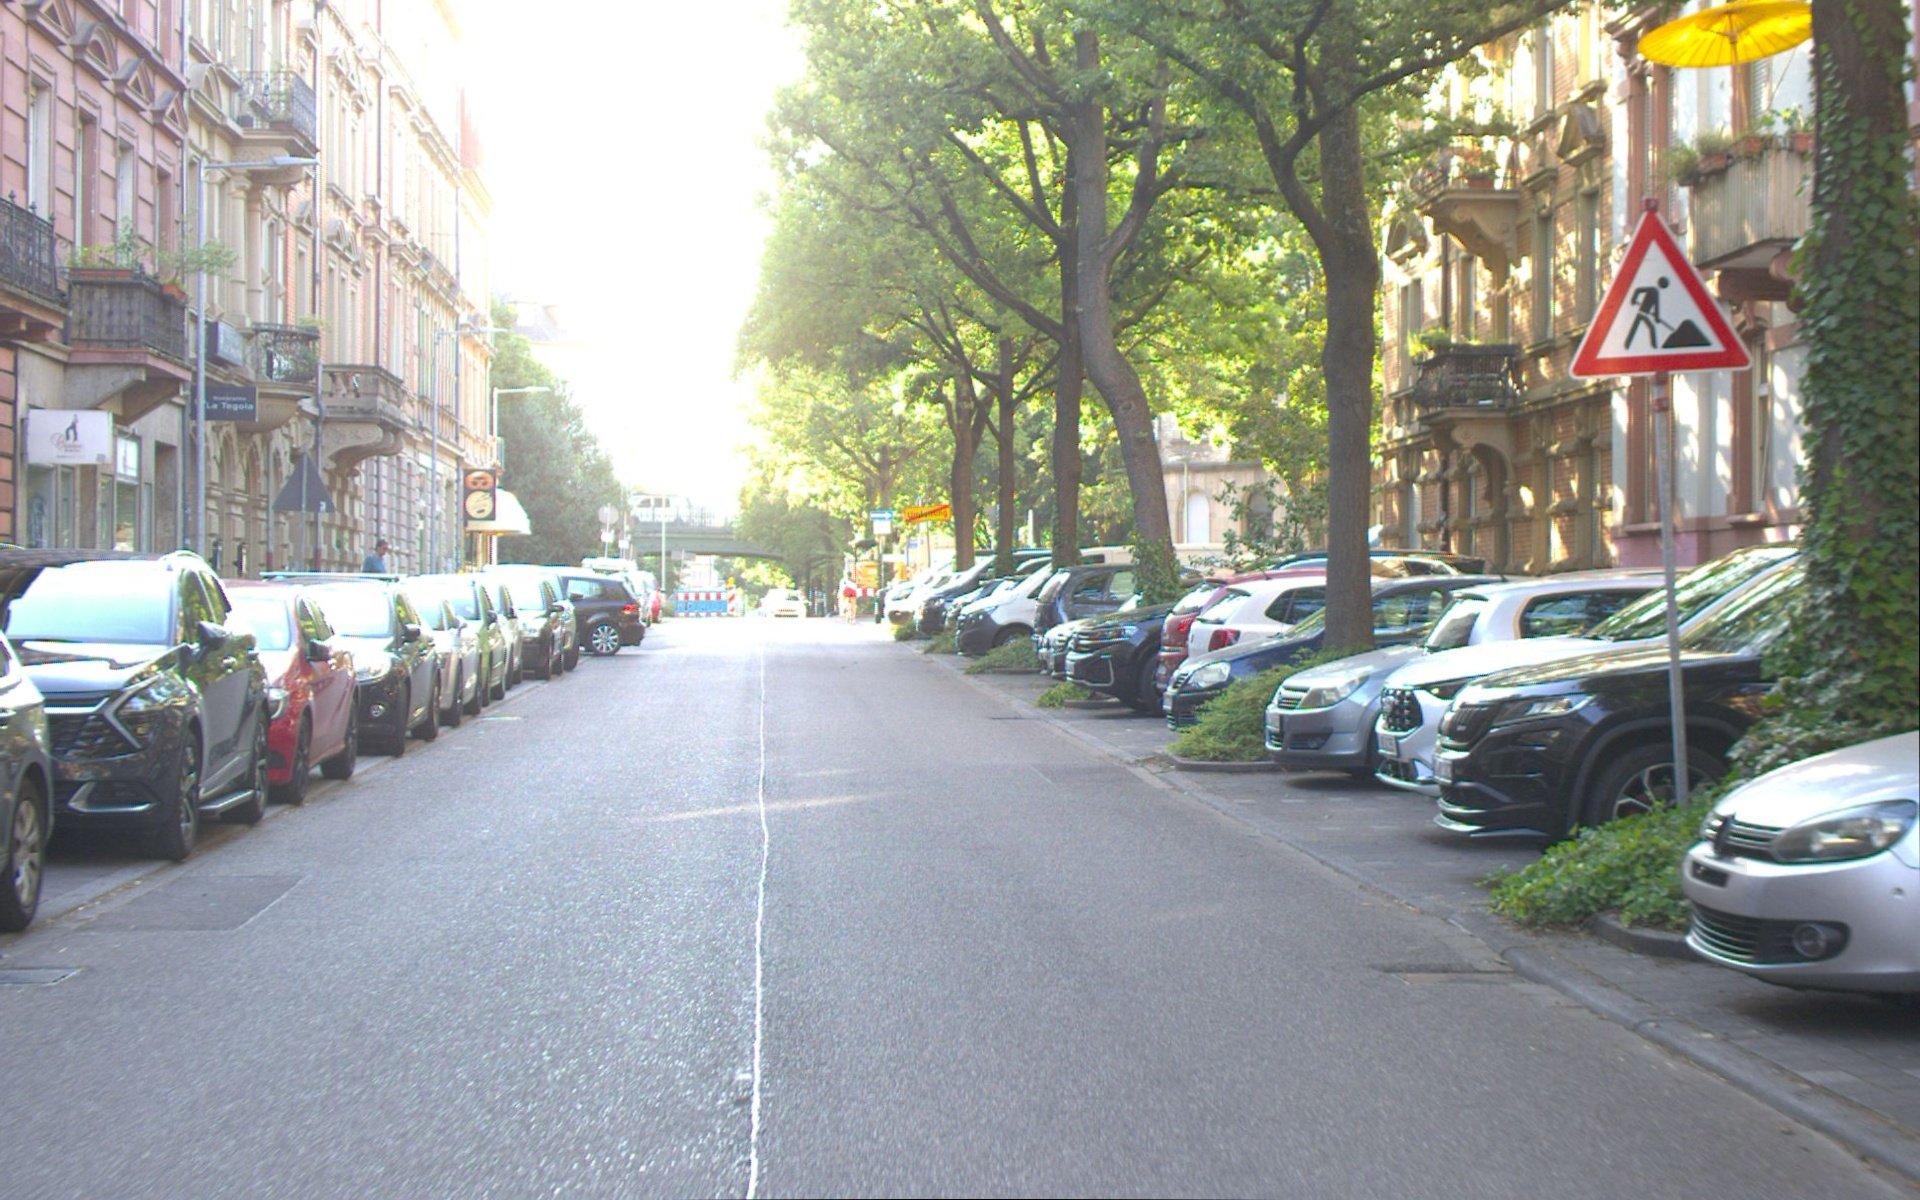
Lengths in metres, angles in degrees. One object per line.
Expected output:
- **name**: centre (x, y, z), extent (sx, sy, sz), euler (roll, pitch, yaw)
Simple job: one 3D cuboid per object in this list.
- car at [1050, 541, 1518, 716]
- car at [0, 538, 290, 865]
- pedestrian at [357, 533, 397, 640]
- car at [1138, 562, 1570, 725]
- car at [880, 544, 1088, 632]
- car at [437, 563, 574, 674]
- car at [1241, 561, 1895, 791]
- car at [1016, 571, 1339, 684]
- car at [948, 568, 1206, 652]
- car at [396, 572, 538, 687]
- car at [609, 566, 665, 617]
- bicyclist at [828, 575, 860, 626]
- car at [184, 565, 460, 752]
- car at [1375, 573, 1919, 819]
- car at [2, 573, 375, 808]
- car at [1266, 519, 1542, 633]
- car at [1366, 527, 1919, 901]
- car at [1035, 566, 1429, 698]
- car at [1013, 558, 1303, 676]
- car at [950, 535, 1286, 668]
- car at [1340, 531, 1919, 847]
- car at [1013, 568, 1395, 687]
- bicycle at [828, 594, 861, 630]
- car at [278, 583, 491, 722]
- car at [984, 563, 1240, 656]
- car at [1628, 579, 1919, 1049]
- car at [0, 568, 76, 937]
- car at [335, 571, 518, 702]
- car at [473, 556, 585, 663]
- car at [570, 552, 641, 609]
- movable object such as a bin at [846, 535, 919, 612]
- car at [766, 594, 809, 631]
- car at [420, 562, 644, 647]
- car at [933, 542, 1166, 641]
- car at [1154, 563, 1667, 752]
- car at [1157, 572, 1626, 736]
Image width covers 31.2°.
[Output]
- **car**: centre (3.406, 0.279, 36.610), extent (4.643, 1.697, 1.882), euler (-1, 1, -6)
- **car**: centre (-4.980, 0.467, 19.190), extent (1.821, 1.595, 4.314), euler (2, 0, -3)
- **pedestrian**: centre (-10.378, -0.241, 61.216), extent (0.638, 1.881, 0.592), euler (0, 0, -16)
- **car**: centre (3.891, 0.414, 34.328), extent (3.986, 1.585, 1.783), euler (0, 1, -6)
- **car**: centre (0.563, -0.300, 84.200), extent (4.973, 2.089, 2.106), euler (0, 0, -3)
- **car**: centre (-6.640, 0.242, 50.514), extent (1.647, 1.468, 4.001), euler (3, 0, -4)
- **car**: centre (4.253, 0.515, 24.414), extent (4.221, 1.531, 1.801), euler (1, 1, -6)
- **car**: centre (2.932, 0.364, 46.845), extent (4.104, 1.498, 1.811), euler (0, 0, -7)
- **car**: centre (2.014, 0.167, 60.112), extent (4.369, 1.451, 1.934), euler (0, 0, -3)
- **car**: centre (-6.608, 0.370, 46.361), extent (1.581, 1.468, 4.001), euler (0, 1, -4)
- **car**: centre (-9.989, -0.266, 106.263), extent (1.669, 1.525, 4.001), euler (1, 0, -6)
- **bicyclist**: centre (-3.223, 0.015, 95.593), extent (0.803, 1.379, 0.985), euler (2, 0, -4)
- **car**: centre (-5.568, 0.462, 30.489), extent (1.821, 1.472, 4.424), euler (2, 0, -3)
- **car**: centre (4.844, 0.587, 22.003), extent (4.100, 1.464, 1.801), euler (1, 1, -2)
- **car**: centre (-5.255, 0.560, 23.949), extent (1.821, 1.421, 4.314), euler (2, 0, -3)
- **car**: centre (10.285, -0.556, 79.918), extent (5.893, 2.529, 2.381), euler (1, 0, -9)
- **car**: centre (4.302, 0.538, 16.346), extent (4.475, 1.650, 1.891), euler (1, -1, -1)
- **car**: centre (3.240, 0.370, 41.632), extent (4.552, 1.524, 2.000), euler (0, 0, -2)
- **car**: centre (2.815, 0.236, 49.371), extent (3.883, 1.643, 1.725), euler (0, 0, -8)
- **car**: centre (2.441, 0.044, 54.001), extent (5.091, 1.933, 2.158), euler (0, -3, -3)
- **car**: centre (4.530, 0.503, 19.300), extent (4.475, 1.650, 1.892), euler (1, -1, -4)
- **car**: centre (3.124, 0.345, 44.529), extent (4.658, 1.498, 1.932), euler (0, 0, -6)
- **bicycle**: centre (-3.216, 0.334, 95.642), extent (0.803, 0.965, 2.109), euler (2, 0, -4)
- **car**: centre (-5.855, 0.496, 35.358), extent (1.705, 1.318, 4.101), euler (0, 1, -3)
- **car**: centre (2.533, 0.144, 57.744), extent (3.986, 1.469, 1.782), euler (-1, 1, -10)
- **car**: centre (4.438, 0.678, 11.601), extent (3.986, 1.451, 1.687), euler (1, 0, -2)
- **car**: centre (-4.723, 0.615, 12.814), extent (1.862, 1.467, 4.489), euler (0, 1, -2)
- **car**: centre (-6.161, 0.387, 40.027), extent (1.705, 1.434, 3.959), euler (0, 1, -3)
- **car**: centre (-6.952, 0.124, 55.384), extent (1.647, 1.569, 4.050), euler (3, 0, -7)
- **car**: centre (-9.321, -0.519, 90.721), extent (1.764, 1.432, 4.301), euler (1, 0, -5)
- **movable object such as a bin**: centre (-2.787, -0.942, 124.273), extent (1.994, 2.690, 3.109), euler (1, 0, 10)
- **car**: centre (-7.189, 0.504, 142.838), extent (1.749, 1.504, 4.001), euler (0, 0, -3)
- **car**: centre (-7.814, 0.075, 62.608), extent (3.986, 1.524, 1.826), euler (0, 0, -9)
- **car**: centre (1.822, -0.182, 71.372), extent (4.614, 2.007, 2.000), euler (0, 0, -5)
- **car**: centre (3.749, 0.461, 29.007), extent (3.986, 1.383, 1.678), euler (-2, 1, -4)
- **car**: centre (3.939, 0.473, 31.731), extent (3.986, 1.457, 1.783), euler (0, 1, -6)
